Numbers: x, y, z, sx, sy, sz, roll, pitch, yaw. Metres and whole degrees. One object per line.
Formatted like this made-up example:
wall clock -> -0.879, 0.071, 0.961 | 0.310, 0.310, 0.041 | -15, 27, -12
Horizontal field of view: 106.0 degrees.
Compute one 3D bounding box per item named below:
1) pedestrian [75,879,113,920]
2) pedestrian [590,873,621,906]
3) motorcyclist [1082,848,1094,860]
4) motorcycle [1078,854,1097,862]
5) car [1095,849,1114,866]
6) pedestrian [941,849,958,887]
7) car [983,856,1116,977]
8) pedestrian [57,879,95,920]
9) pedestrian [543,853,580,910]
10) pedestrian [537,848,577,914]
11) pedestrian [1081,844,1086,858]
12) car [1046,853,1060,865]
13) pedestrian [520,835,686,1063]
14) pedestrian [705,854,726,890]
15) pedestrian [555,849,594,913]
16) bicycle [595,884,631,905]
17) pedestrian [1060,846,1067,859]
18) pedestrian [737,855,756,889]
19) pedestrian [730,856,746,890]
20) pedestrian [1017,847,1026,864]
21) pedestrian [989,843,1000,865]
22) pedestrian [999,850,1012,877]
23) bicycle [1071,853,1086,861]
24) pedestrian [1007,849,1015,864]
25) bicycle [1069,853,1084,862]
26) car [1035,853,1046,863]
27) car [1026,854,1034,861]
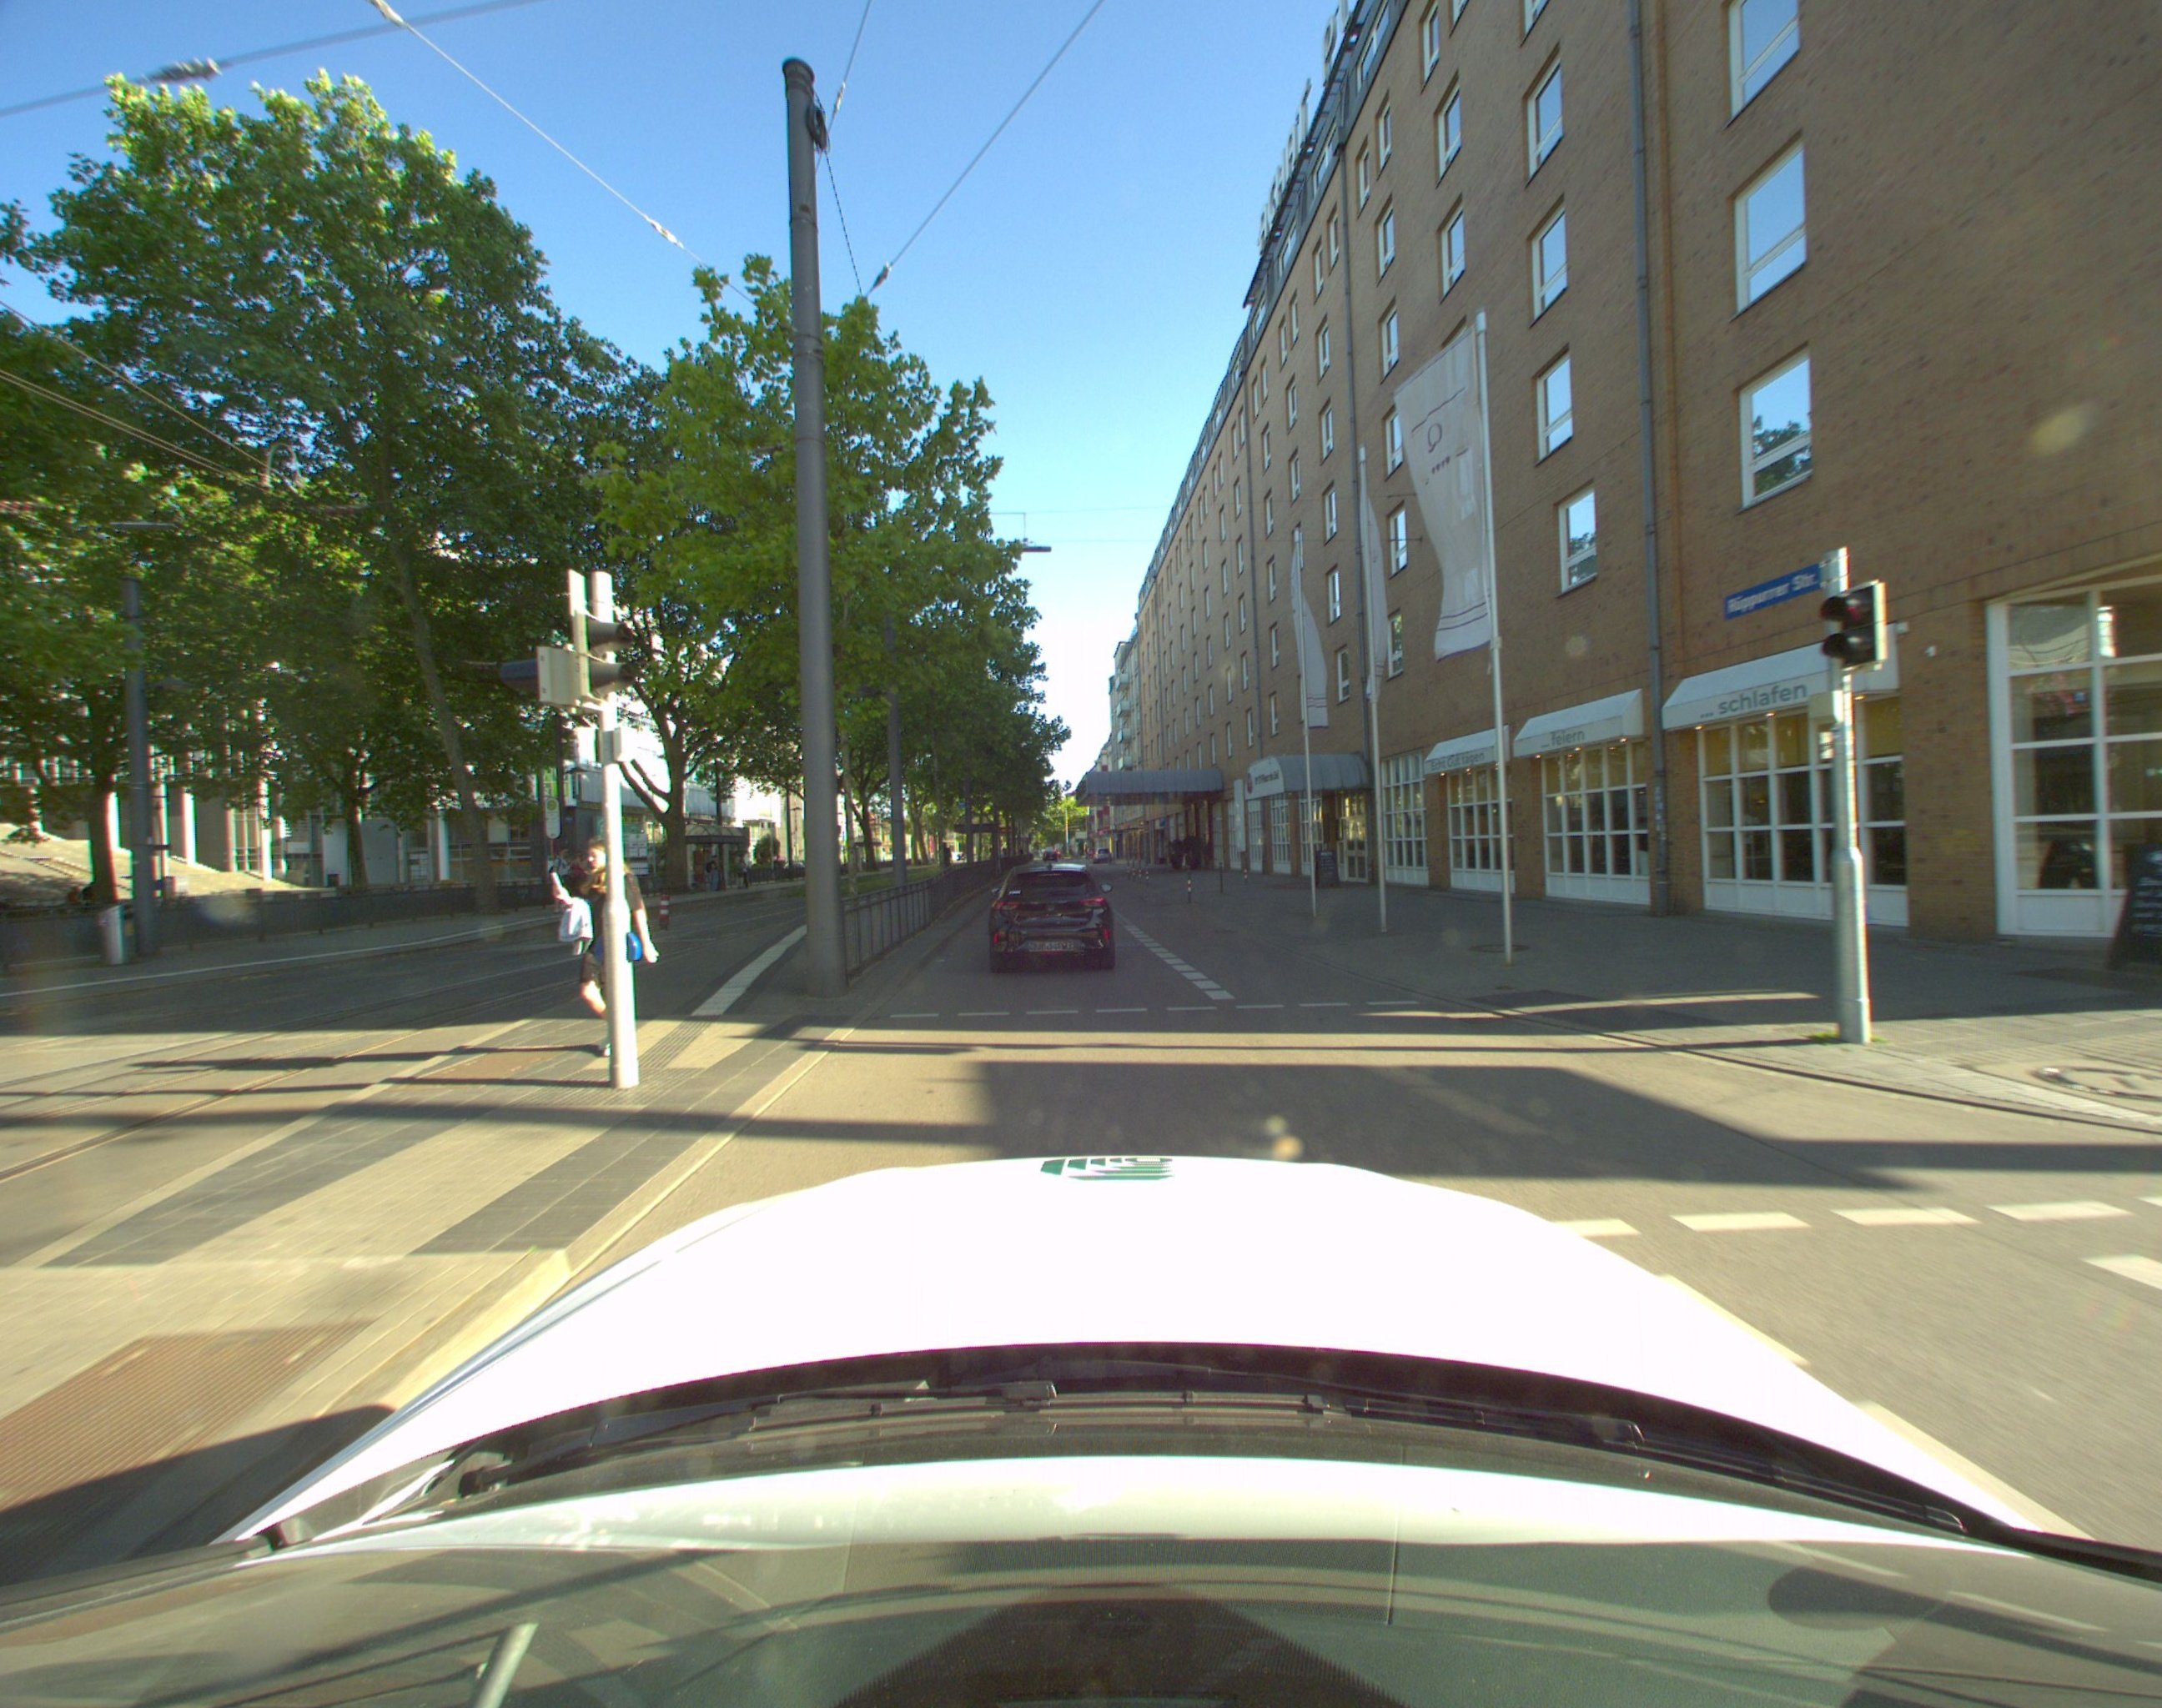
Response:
pedestrian -> -41.751, 1.922, 34.466 | 0.694, 1.652, 0.705 | -1, 0, -2
pedestrian -> -17.472, 1.289, 29.924 | 0.586, 1.164, 0.747 | -1, 0, 13
motorcyclist -> 0.974, 0.048, 116.444 | 1.313, 1.698, 1.224 | -1, 0, -32
motorcycle -> 0.927, 0.540, 116.541 | 1.313, 1.058, 3.066 | -2, 0, -32
car -> 2.368, 0.355, 82.727 | 1.667, 1.652, 3.688 | -1, 0, -1
pedestrian -> -5.952, 0.631, 36.966 | 0.602, 1.680, 0.486 | -3, 0, -3
car -> -0.443, 0.803, 12.192 | 1.667, 1.502, 3.688 | -1, 0, -2
pedestrian -> -42.490, 1.919, 34.429 | 0.694, 1.652, 0.705 | -1, 0, -2
pedestrian -> -16.753, 0.865, 26.272 | 0.586, 1.800, 0.747 | -1, 0, 13
pedestrian -> -14.814, 0.746, 23.039 | 0.633, 1.828, 0.743 | -1, 0, -7
pedestrian -> 0.515, -0.671, 174.323 | 0.915, 2.871, 1.149 | -1, 0, -3
car -> -3.631, 0.655, 105.288 | 1.610, 1.501, 3.686 | -1, 0, -3
pedestrian -> -3.800, 0.714, 6.535 | 0.710, 1.680, 0.833 | -3, 0, 6
pedestrian -> -16.252, 0.801, 36.207 | 0.479, 1.573, 0.676 | 0, 2, 40
pedestrian -> -14.826, 0.772, 23.840 | 0.585, 1.828, 0.749 | -2, 0, 29
bicycle -> -17.236, 1.476, 30.051 | 0.392, 0.689, 1.694 | -2, 0, -2
pedestrian -> -3.993, -0.351, 181.894 | 1.155, 2.871, 0.910 | -2, -1, -36
pedestrian -> -16.099, 0.870, 39.189 | 0.560, 1.573, 0.641 | -1, 1, 10
pedestrian -> -16.244, 0.887, 38.551 | 0.499, 1.573, 0.494 | -1, 1, 1
pedestrian -> -5.169, 0.115, 70.862 | 0.721, 1.444, 0.625 | -1, 0, -6
pedestrian -> -5.559, -0.018, 52.460 | 0.602, 1.365, 0.486 | -3, 0, -3
pedestrian -> -4.221, 0.522, 45.563 | 0.721, 1.444, 0.625 | -1, 0, -6
bicycle -> -0.411, 0.518, 129.816 | 2.348, 1.233, 0.683 | -1, 0, -1
pedestrian -> -6.508, 0.261, 75.602 | 0.602, 1.365, 0.486 | -3, 0, -3
bicycle -> -0.658, 0.530, 128.178 | 2.348, 1.233, 0.683 | -1, 0, -1
car -> -6.179, 0.646, 124.448 | 1.610, 1.501, 3.686 | -1, 0, -3
car -> -10.835, 0.766, 172.131 | 1.610, 1.501, 3.686 | -1, 0, -3
